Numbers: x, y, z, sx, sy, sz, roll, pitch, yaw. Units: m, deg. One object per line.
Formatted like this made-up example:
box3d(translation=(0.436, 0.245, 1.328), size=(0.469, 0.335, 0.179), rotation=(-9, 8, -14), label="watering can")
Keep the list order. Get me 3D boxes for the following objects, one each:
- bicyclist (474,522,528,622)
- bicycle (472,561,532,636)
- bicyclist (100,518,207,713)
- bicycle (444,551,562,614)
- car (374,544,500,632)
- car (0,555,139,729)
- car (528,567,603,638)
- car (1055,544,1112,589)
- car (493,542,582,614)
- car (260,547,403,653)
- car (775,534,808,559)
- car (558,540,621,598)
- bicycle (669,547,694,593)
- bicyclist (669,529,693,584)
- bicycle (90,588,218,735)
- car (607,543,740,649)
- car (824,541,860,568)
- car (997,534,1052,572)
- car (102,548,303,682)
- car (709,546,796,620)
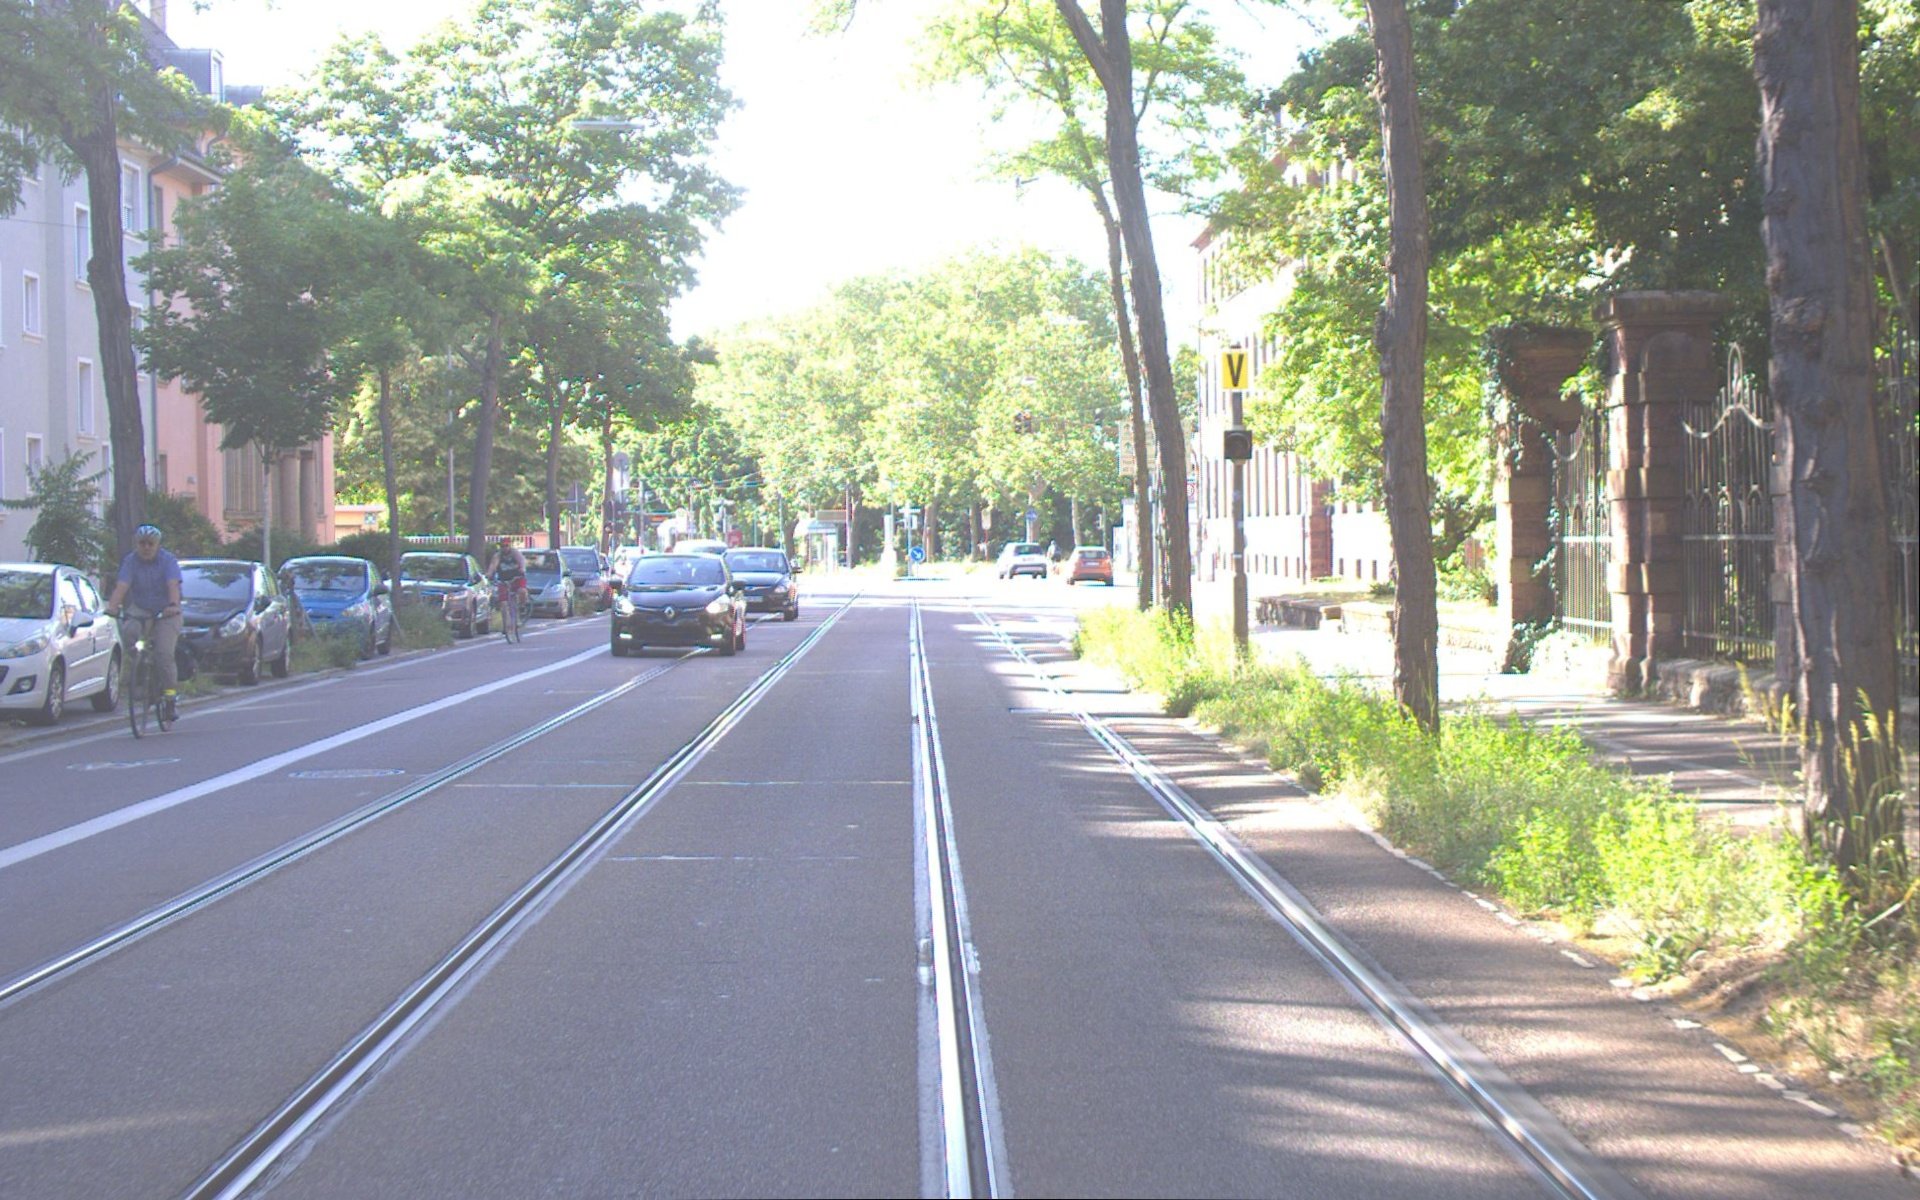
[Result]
box3d(translation=(-7.625, -0.467, 57.152), size=(0.709, 1.601, 0.865), rotation=(-3, 1, -1), label="bicyclist")
box3d(translation=(-7.610, -0.042, 57.150), size=(0.694, 1.173, 1.913), rotation=(-3, 1, -1), label="bicycle")
box3d(translation=(-7.005, 0.122, 29.885), size=(0.626, 1.633, 0.940), rotation=(-3, 1, -1), label="bicyclist")
box3d(translation=(-9.292, -0.361, 69.872), size=(2.285, 1.194, 0.559), rotation=(2, 2, 6), label="bicycle")
box3d(translation=(-9.532, -0.251, 62.952), size=(1.745, 1.485, 4.324), rotation=(2, 1, -2), label="car")
box3d(translation=(-9.131, 0.345, 32.669), size=(1.702, 1.480, 4.079), rotation=(2, 1, -1), label="car")
box3d(translation=(-10.038, 0.037, 87.611), size=(1.745, 1.655, 4.392), rotation=(2, 1, -5), label="car")
box3d(translation=(4.698, -1.286, 131.025), size=(1.839, 1.649, 3.580), rotation=(-1, 1, -3), label="car")
box3d(translation=(-9.746, -0.531, 79.562), size=(1.745, 1.564, 4.070), rotation=(2, 1, -3), label="car")
box3d(translation=(-9.325, -0.025, 51.258), size=(1.560, 1.452, 3.931), rotation=(2, 1, -3), label="car")
box3d(translation=(-11.062, -3.533, 225.180), size=(1.942, 1.605, 4.001), rotation=(-1, 1, -6), label="car")
box3d(translation=(-10.002, -0.845, 92.971), size=(1.581, 1.483, 3.613), rotation=(2, 1, -5), label="car")
box3d(translation=(-7.566, -0.826, 93.558), size=(0.557, 1.194, 2.292), rotation=(-4, 1, -4), label="bicycle")
box3d(translation=(-7.602, -1.198, 93.662), size=(0.557, 1.451, 0.869), rotation=(-4, 1, -4), label="bicyclist")
box3d(translation=(-6.991, 0.517, 29.905), size=(0.626, 1.173, 1.913), rotation=(-3, 1, -1), label="bicycle")
box3d(translation=(-4.076, -0.091, 49.314), size=(1.699, 1.434, 4.072), rotation=(0, 1, -2), label="car")
box3d(translation=(-7.213, -2.762, 209.762), size=(1.942, 1.605, 4.001), rotation=(-1, 1, -6), label="car")
box3d(translation=(2.808, -2.063, 150.821), size=(1.942, 1.605, 4.001), rotation=(-1, 1, -6), label="car")
box3d(translation=(-9.163, 0.146, 41.852), size=(1.687, 1.480, 3.760), rotation=(2, 1, -2), label="car")
box3d(translation=(-4.272, -0.366, 71.196), size=(1.699, 1.466, 4.072), rotation=(0, 1, -2), label="car")
